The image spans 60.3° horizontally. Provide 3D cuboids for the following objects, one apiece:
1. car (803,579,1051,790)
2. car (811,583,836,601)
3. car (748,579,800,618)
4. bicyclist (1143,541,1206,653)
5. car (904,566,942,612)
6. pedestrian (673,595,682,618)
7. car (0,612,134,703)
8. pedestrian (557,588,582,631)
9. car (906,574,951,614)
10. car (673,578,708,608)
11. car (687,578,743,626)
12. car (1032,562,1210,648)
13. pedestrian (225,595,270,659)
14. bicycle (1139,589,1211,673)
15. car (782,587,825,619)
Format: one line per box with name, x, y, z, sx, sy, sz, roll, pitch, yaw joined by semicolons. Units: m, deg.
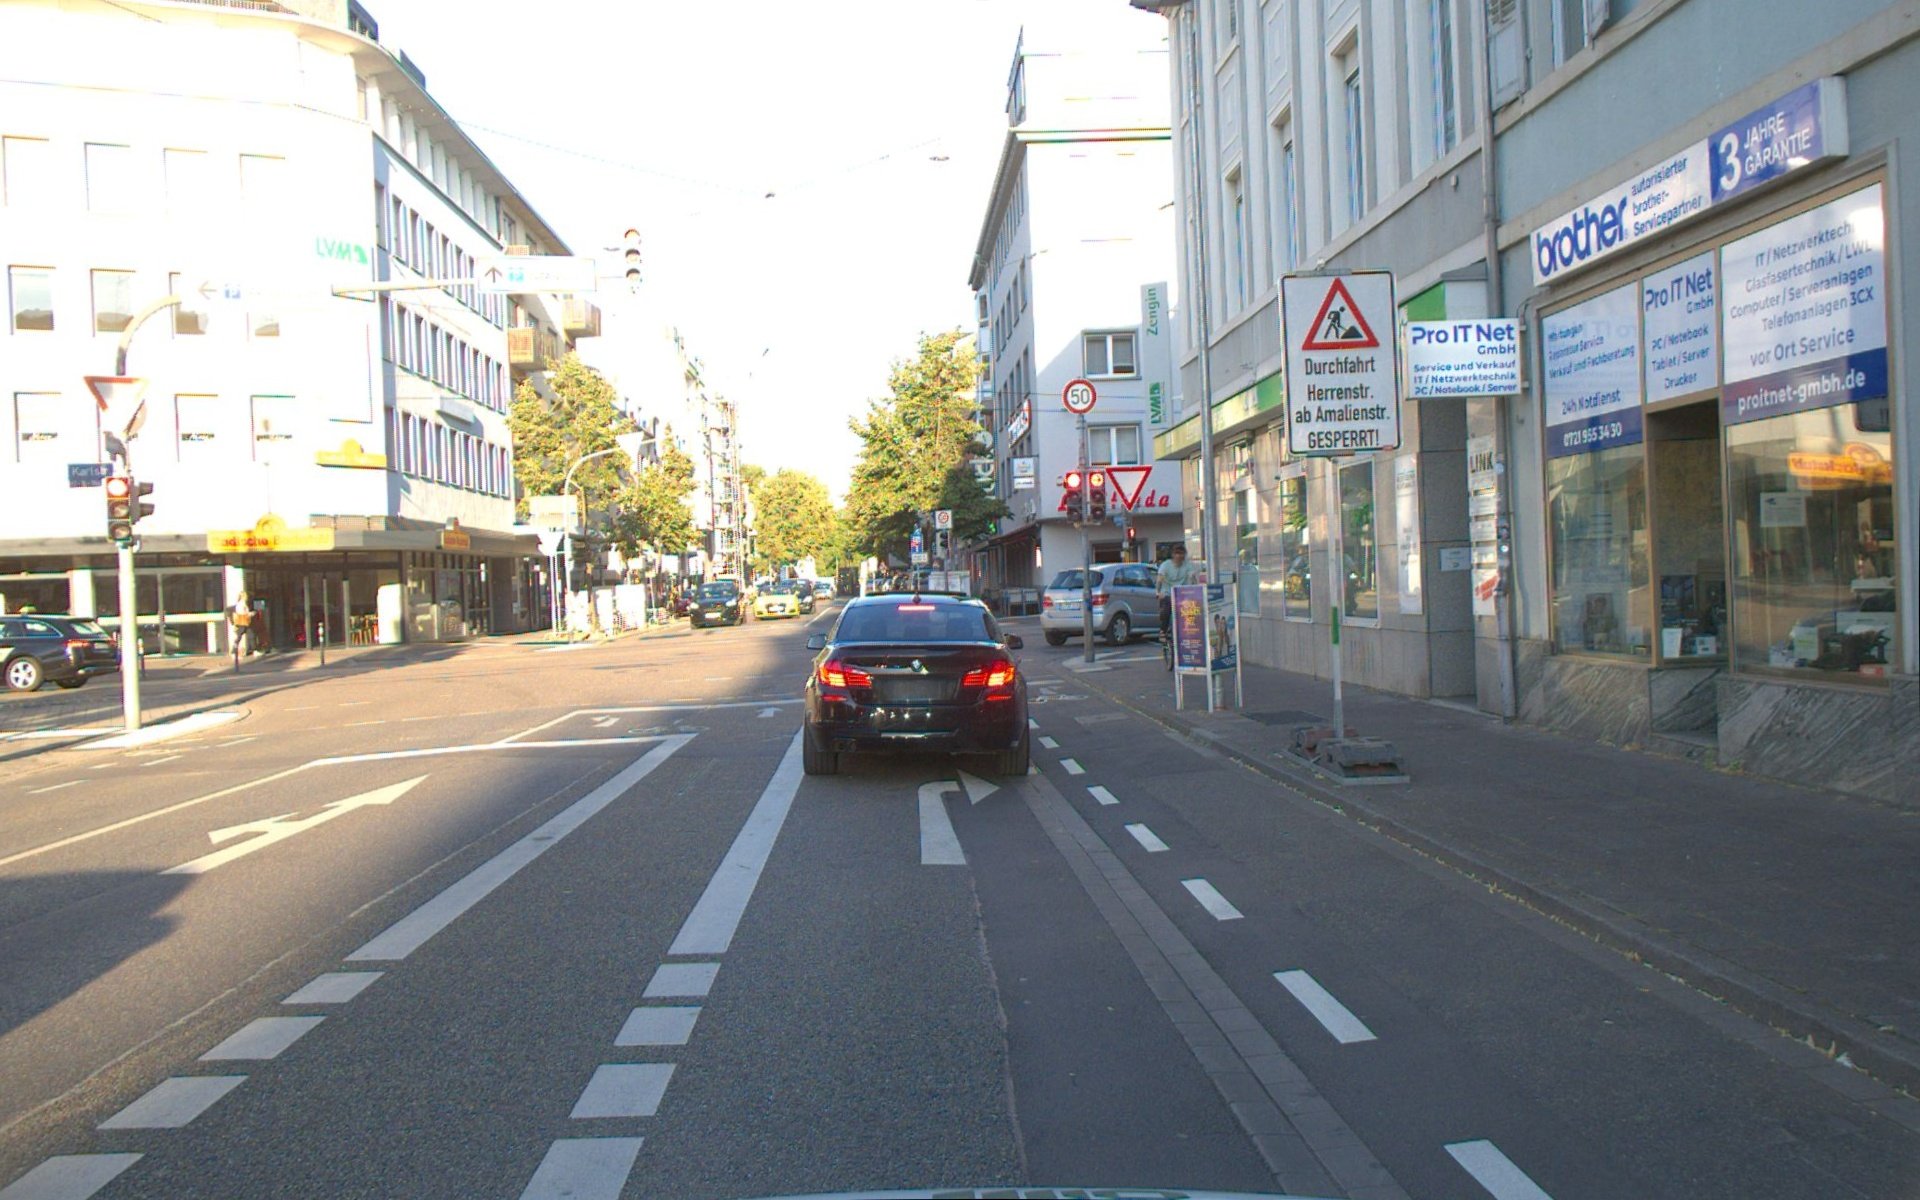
car;-0.390;0.611;14.701;1.866;1.567;4.446;0;1;-4
car;-10.668;-0.629;129.069;1.702;1.315;3.992;-2;1;-8
car;-7.594;-0.080;67.255;1.957;1.467;3.992;-2;1;-8
bicyclist;3.051;-0.045;23.615;0.707;1.534;0.899;-2;0;-2
car;-1.604;-0.473;70.756;1.393;1.887;3.049;-1;0;-6
pedestrian;-17.578;0.393;102.762;0.435;1.441;0.525;-3;0;-5
car;-18.799;1.152;32.310;4.343;1.623;1.879;-2;1;2
pedestrian;-16.131;0.393;68.379;0.807;1.705;0.871;-2;0;-4
car;-1.253;-0.238;64.366;1.593;1.497;3.393;-1;0;-3
car;-14.372;-0.374;88.408;1.702;1.487;3.992;-2;1;-8
car;-9.128;0.059;61.740;1.957;1.646;3.992;-2;1;-8
car;3.382;0.078;34.133;1.802;1.603;4.084;-1;1;37
pedestrian;-18.083;0.671;41.970;0.934;1.564;0.901;-2;1;-27
bicycle;3.057;0.417;23.634;0.676;1.126;1.895;-2;1;-2
car;-7.023;0.107;74.051;1.702;1.315;3.992;-2;1;-8
